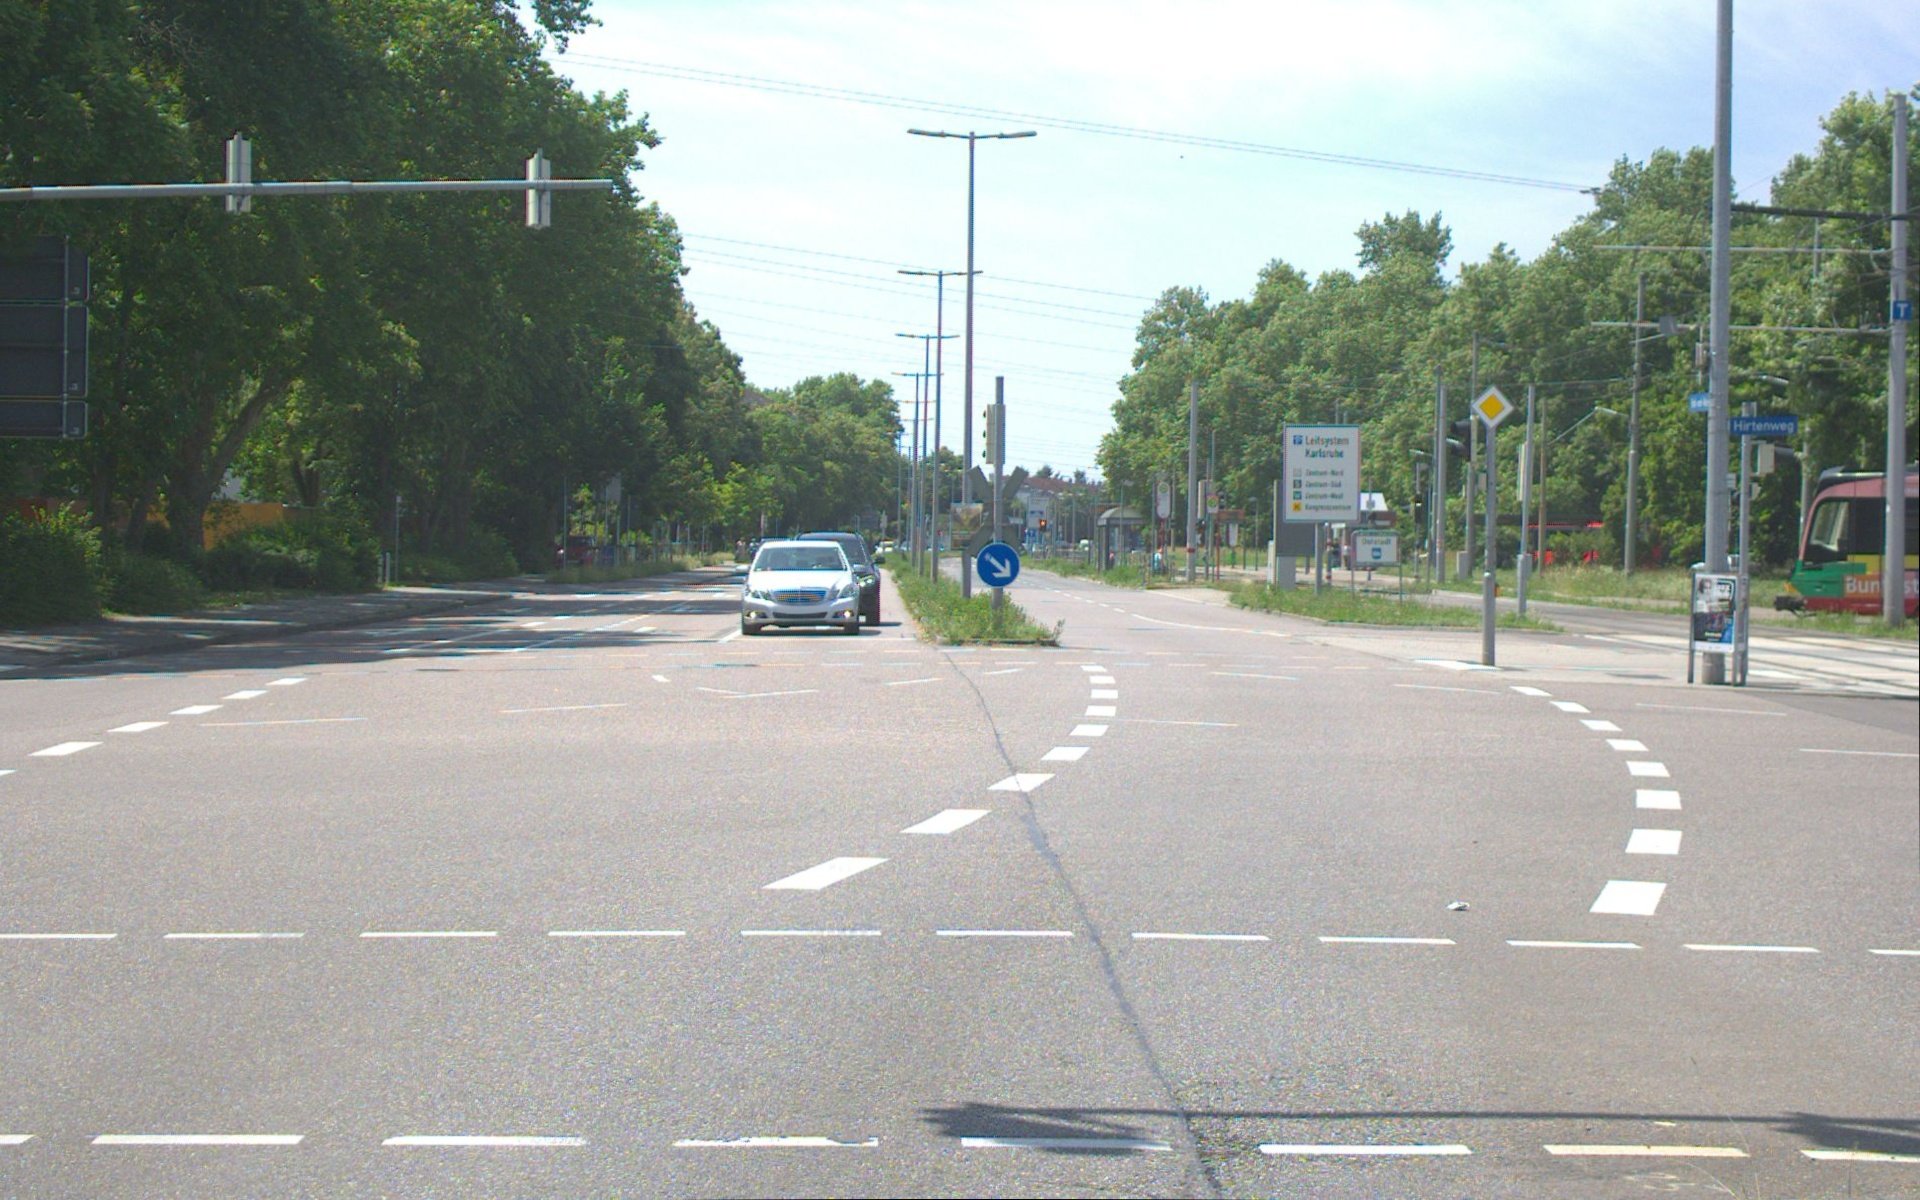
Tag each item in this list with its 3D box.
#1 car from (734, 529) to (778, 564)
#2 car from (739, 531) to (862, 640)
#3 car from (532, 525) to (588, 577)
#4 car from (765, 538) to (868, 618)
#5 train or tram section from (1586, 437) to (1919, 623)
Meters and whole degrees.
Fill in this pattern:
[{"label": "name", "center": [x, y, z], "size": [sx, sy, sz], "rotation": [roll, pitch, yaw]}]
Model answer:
[{"label": "car", "center": [-8.693, -2.292, 146.831], "size": [1.671, 1.485, 3.711], "rotation": [1, 1, -1]}, {"label": "car", "center": [-2.486, -0.262, 54.241], "size": [1.784, 1.623, 3.865], "rotation": [1, 1, -1]}, {"label": "car", "center": [-16.817, -2.053, 144.717], "size": [1.993, 2.007, 4.001], "rotation": [4, 0, -4]}, {"label": "car", "center": [-2.545, -0.414, 61.636], "size": [1.710, 1.361, 3.865], "rotation": [1, 1, -1]}, {"label": "train or tram section", "center": [20.129, -1.470, 73.726], "size": [13.058, 3.799, 2.917], "rotation": [1, -2, 35]}]
